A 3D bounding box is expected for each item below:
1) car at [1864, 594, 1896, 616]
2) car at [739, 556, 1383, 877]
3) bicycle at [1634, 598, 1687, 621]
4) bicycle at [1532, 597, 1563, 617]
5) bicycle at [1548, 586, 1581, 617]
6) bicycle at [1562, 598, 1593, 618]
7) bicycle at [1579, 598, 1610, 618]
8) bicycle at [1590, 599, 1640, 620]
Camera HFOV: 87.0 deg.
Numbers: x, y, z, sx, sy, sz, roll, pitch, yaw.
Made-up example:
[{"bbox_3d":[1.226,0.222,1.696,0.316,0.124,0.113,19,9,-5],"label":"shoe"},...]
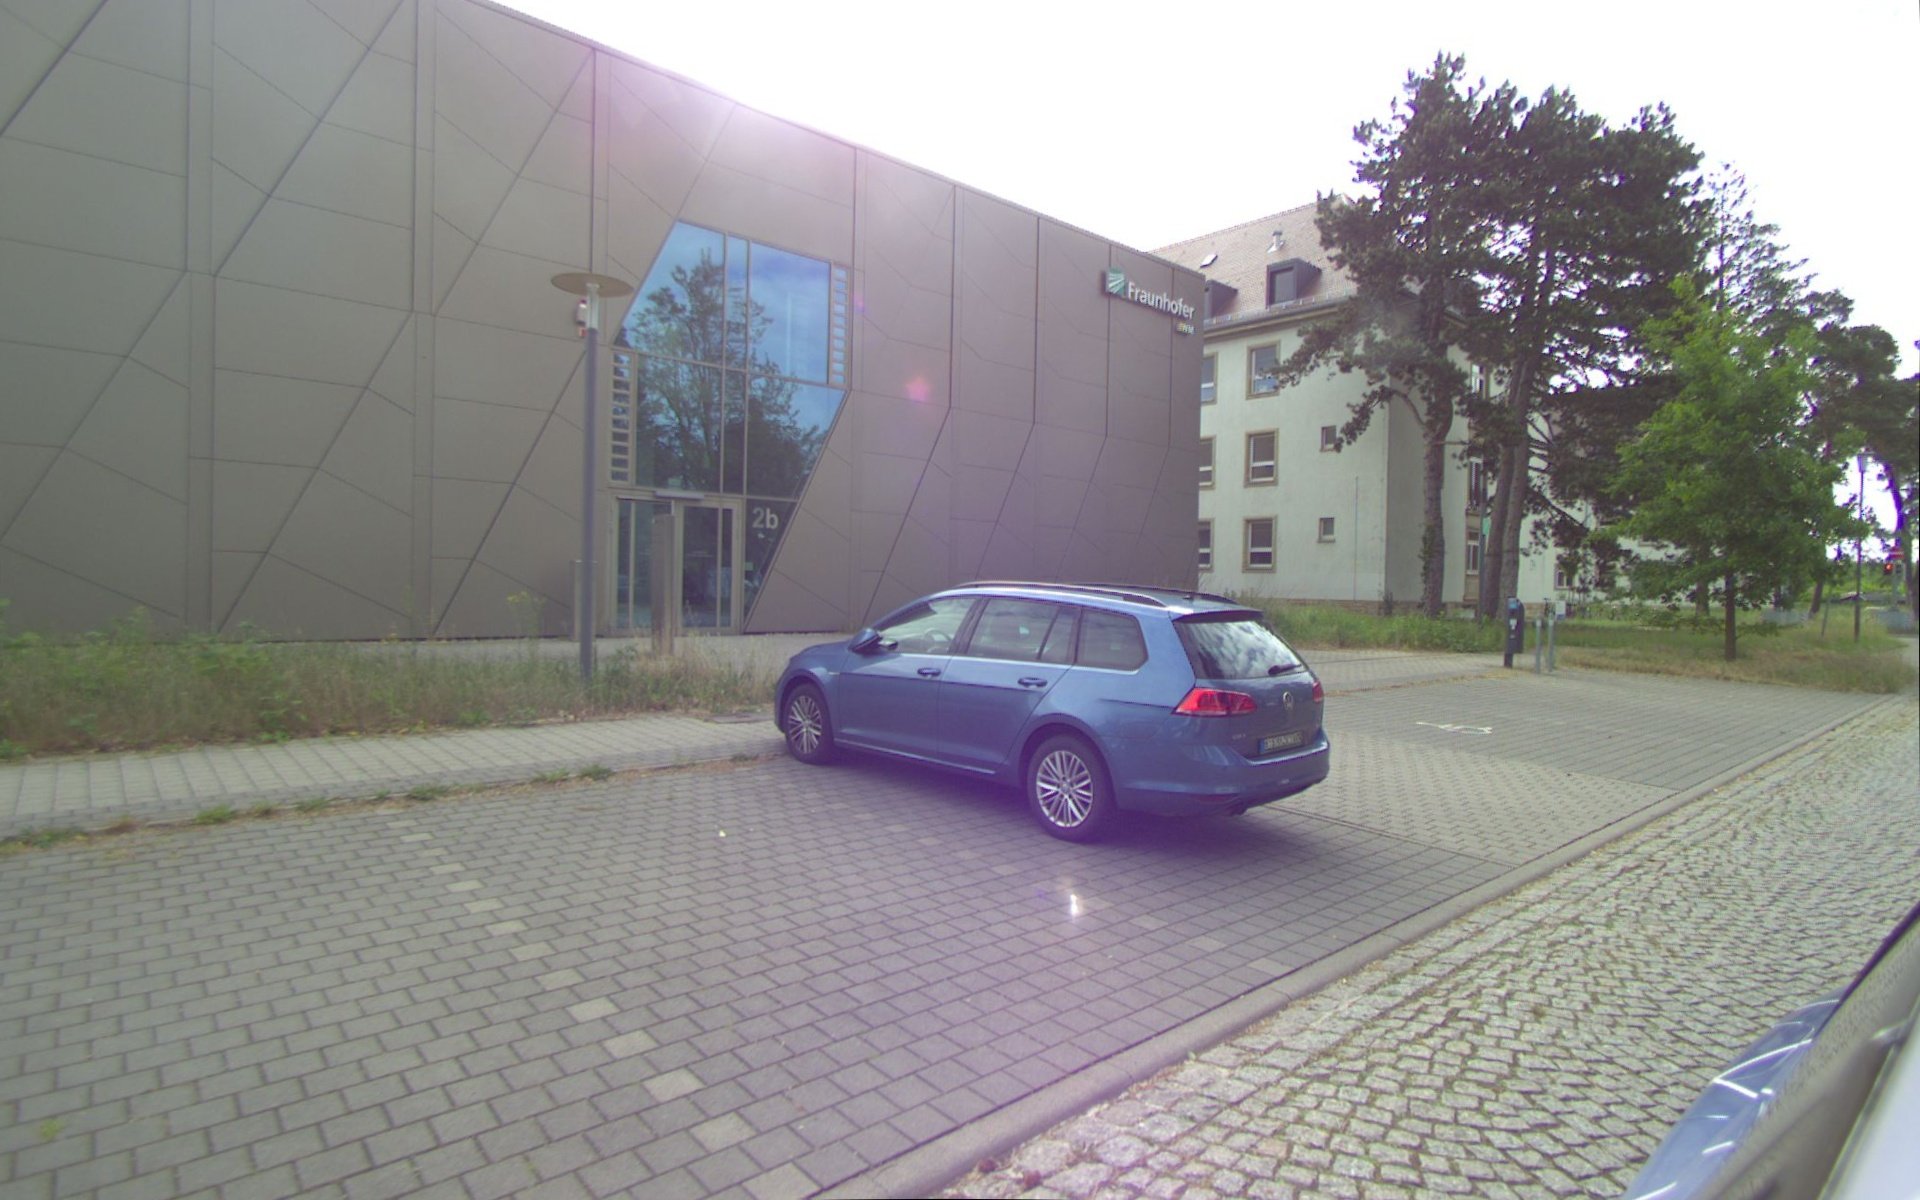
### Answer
[{"bbox_3d":[79.699,0.397,87.655,1.993,1.810,3.939,2,1,42],"label":"car"},{"bbox_3d":[0.414,0.521,7.403,1.899,1.467,4.532,0,3,-43],"label":"car"},{"bbox_3d":[36.632,0.501,52.956,0.705,1.109,2.160,0,1,-44],"label":"bicycle"},{"bbox_3d":[33.844,0.398,58.286,2.159,1.070,0.800,0,1,-39],"label":"bicycle"},{"bbox_3d":[34.468,0.070,57.700,2.159,1.753,0.905,0,1,-39],"label":"bicycle"},{"bbox_3d":[34.714,0.429,56.905,2.159,1.070,0.800,0,1,-39],"label":"bicycle"},{"bbox_3d":[35.261,0.448,56.256,2.126,1.070,0.800,0,1,-39],"label":"bicycle"},{"bbox_3d":[35.317,0.482,54.572,0.705,1.070,2.160,0,1,-44],"label":"bicycle"}]
